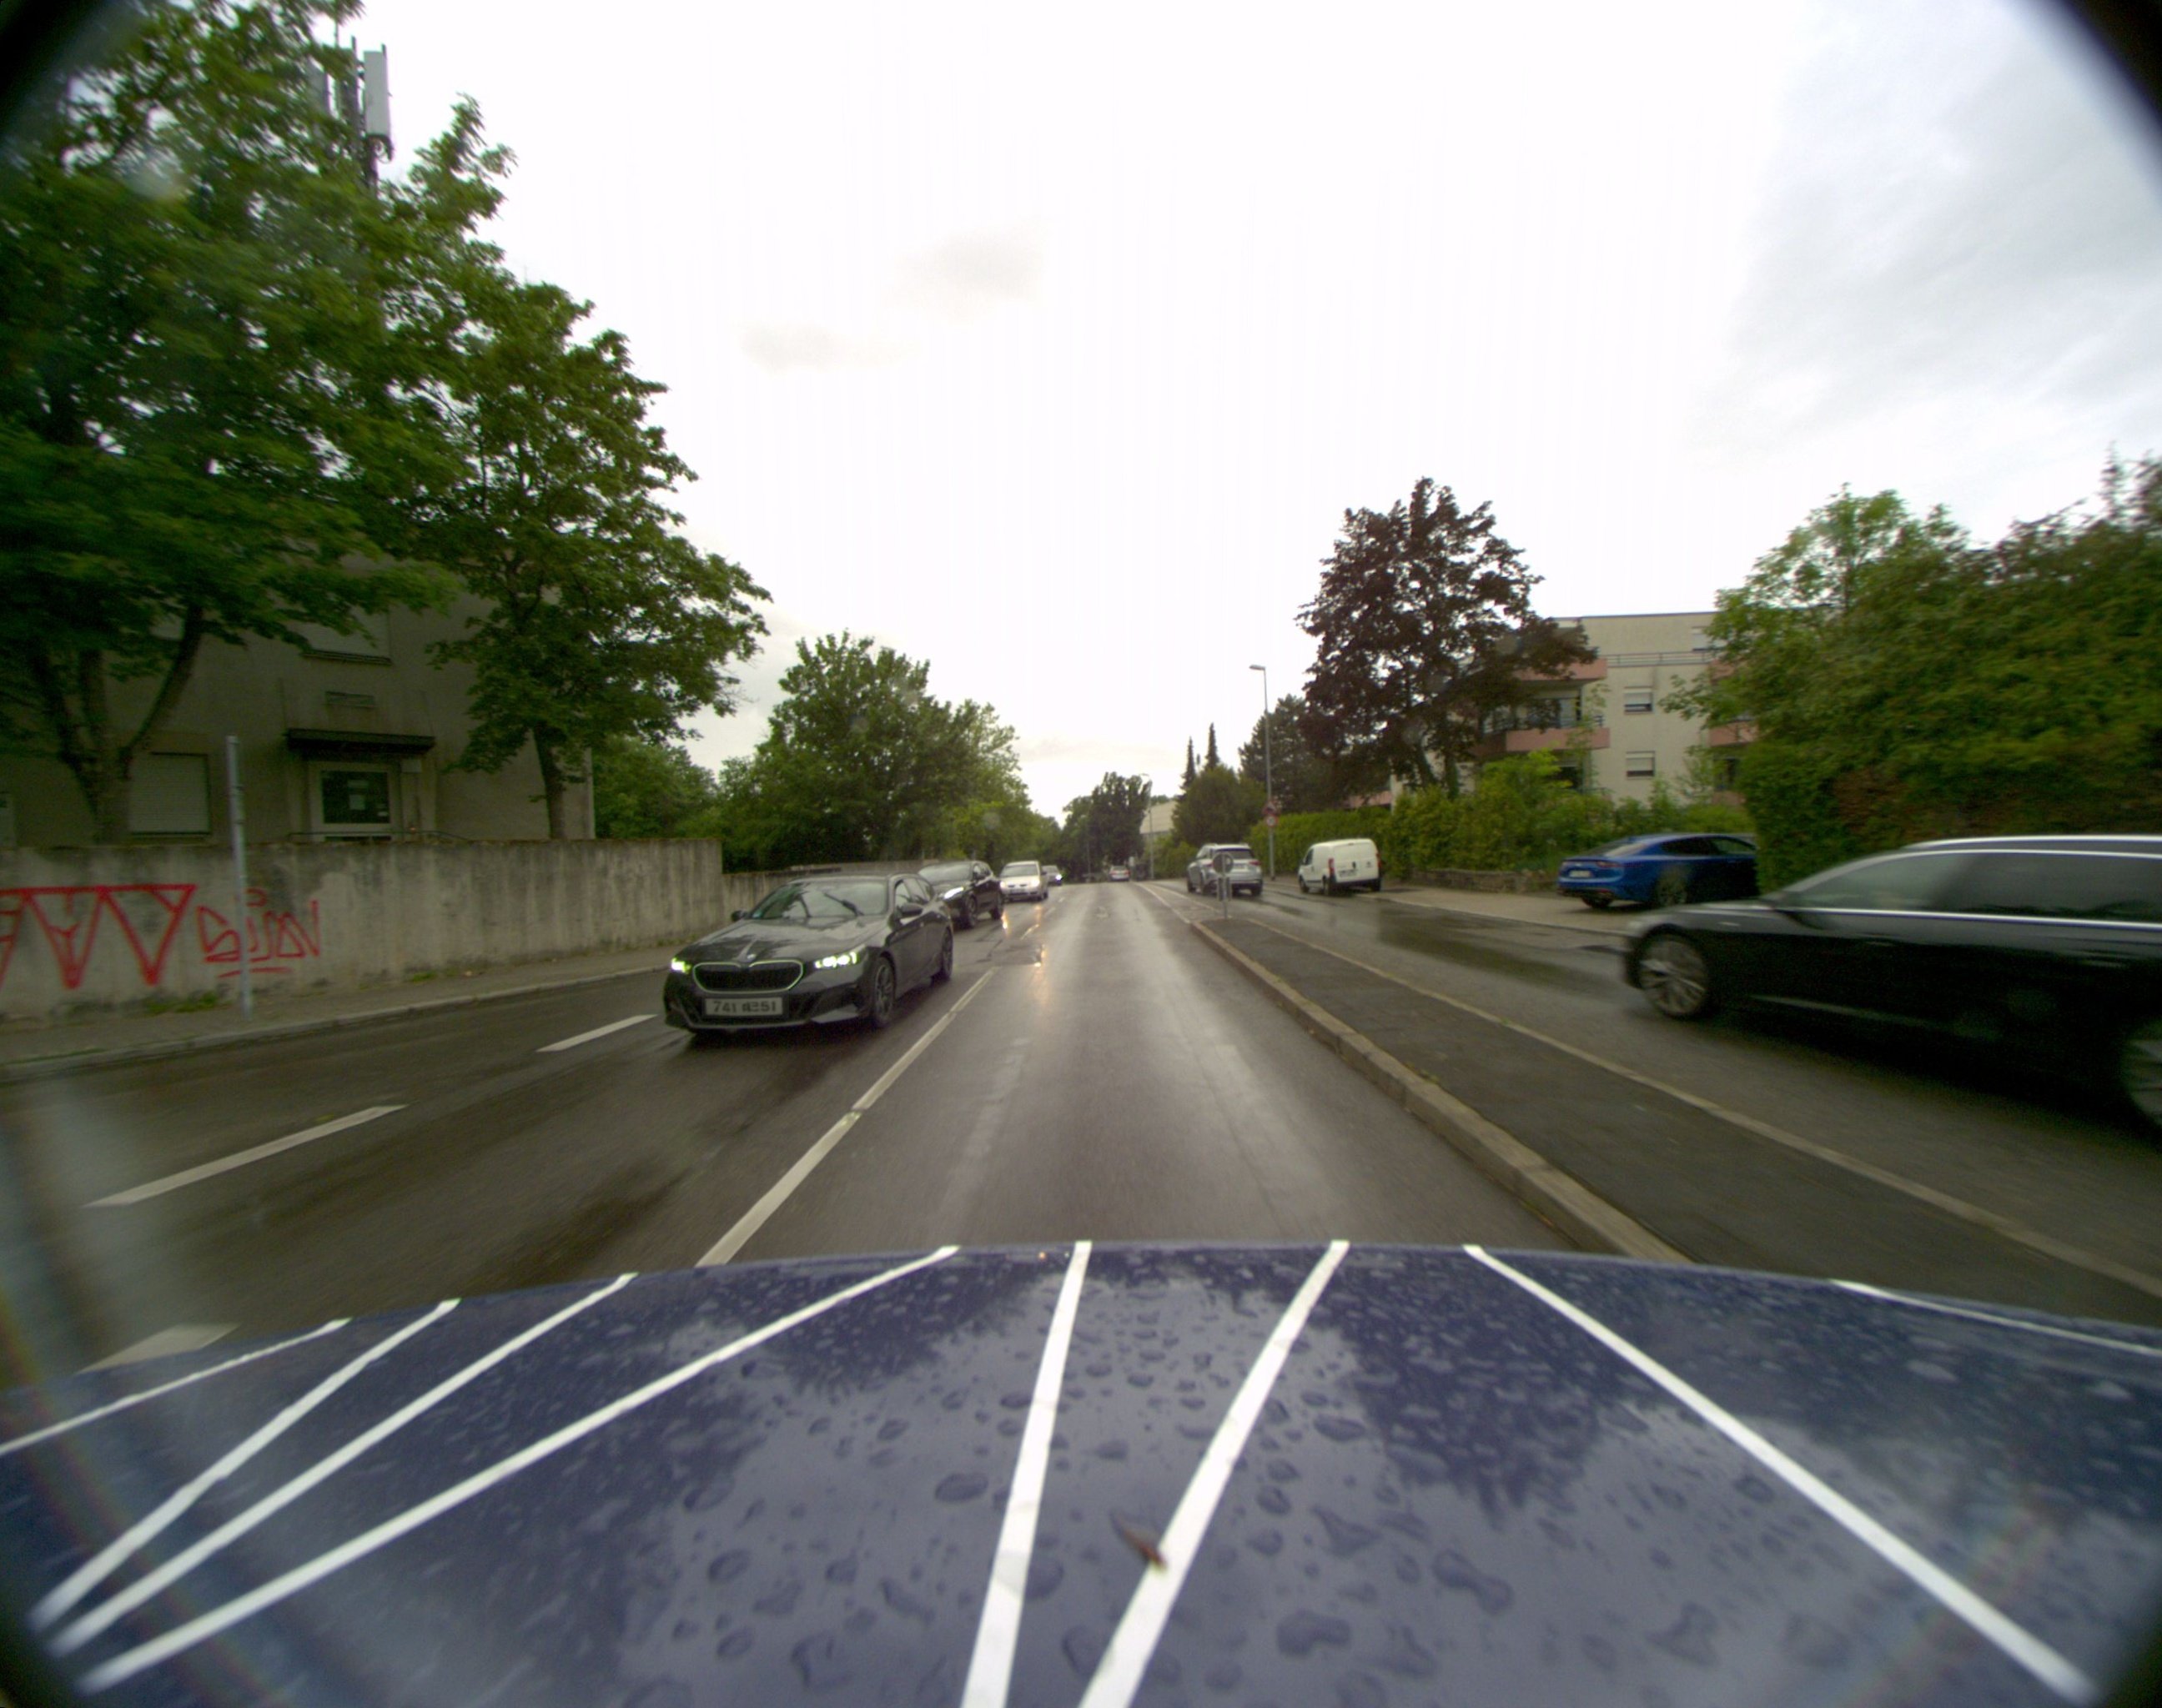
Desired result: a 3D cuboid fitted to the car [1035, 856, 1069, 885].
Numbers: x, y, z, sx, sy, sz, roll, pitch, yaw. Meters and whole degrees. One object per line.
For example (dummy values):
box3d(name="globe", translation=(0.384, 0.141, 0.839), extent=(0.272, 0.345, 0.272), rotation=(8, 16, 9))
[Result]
box3d(name="car", translation=(-1.964, 1.192, 52.571), extent=(2.035, 1.690, 4.003), rotation=(-5, -4, 0))

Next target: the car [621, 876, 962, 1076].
box3d(name="car", translation=(-2.767, 1.081, 8.652), extent=(1.910, 1.450, 4.778), rotation=(-2, 0, 1))

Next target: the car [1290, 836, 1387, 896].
box3d(name="car", translation=(8.436, 0.384, 25.284), extent=(1.705, 1.698, 3.979), rotation=(-6, 0, -1))

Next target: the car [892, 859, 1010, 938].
box3d(name="car", translation=(-3.082, 1.007, 18.889), extent=(1.794, 1.594, 4.254), rotation=(-3, 0, 5))

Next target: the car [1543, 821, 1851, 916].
box3d(name="car", translation=(11.594, 0.277, 14.479), extent=(4.495, 1.354, 1.805), rotation=(-4, -1, -5))

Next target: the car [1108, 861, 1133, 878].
box3d(name="car", translation=(3.656, 1.447, 71.632), extent=(1.640, 1.570, 4.054), rotation=(0, 0, -8))

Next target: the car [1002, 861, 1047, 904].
box3d(name="car", translation=(-2.177, 1.070, 29.989), extent=(1.640, 1.496, 3.999), rotation=(-1, 0, -3))

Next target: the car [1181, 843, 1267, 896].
box3d(name="car", translation=(4.980, 0.529, 27.062), extent=(2.046, 1.706, 4.480), rotation=(-1, 0, -2))

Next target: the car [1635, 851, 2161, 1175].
box3d(name="car", translation=(5.719, 0.720, 4.273), extent=(1.742, 1.429, 4.555), rotation=(-1, 1, -3))
